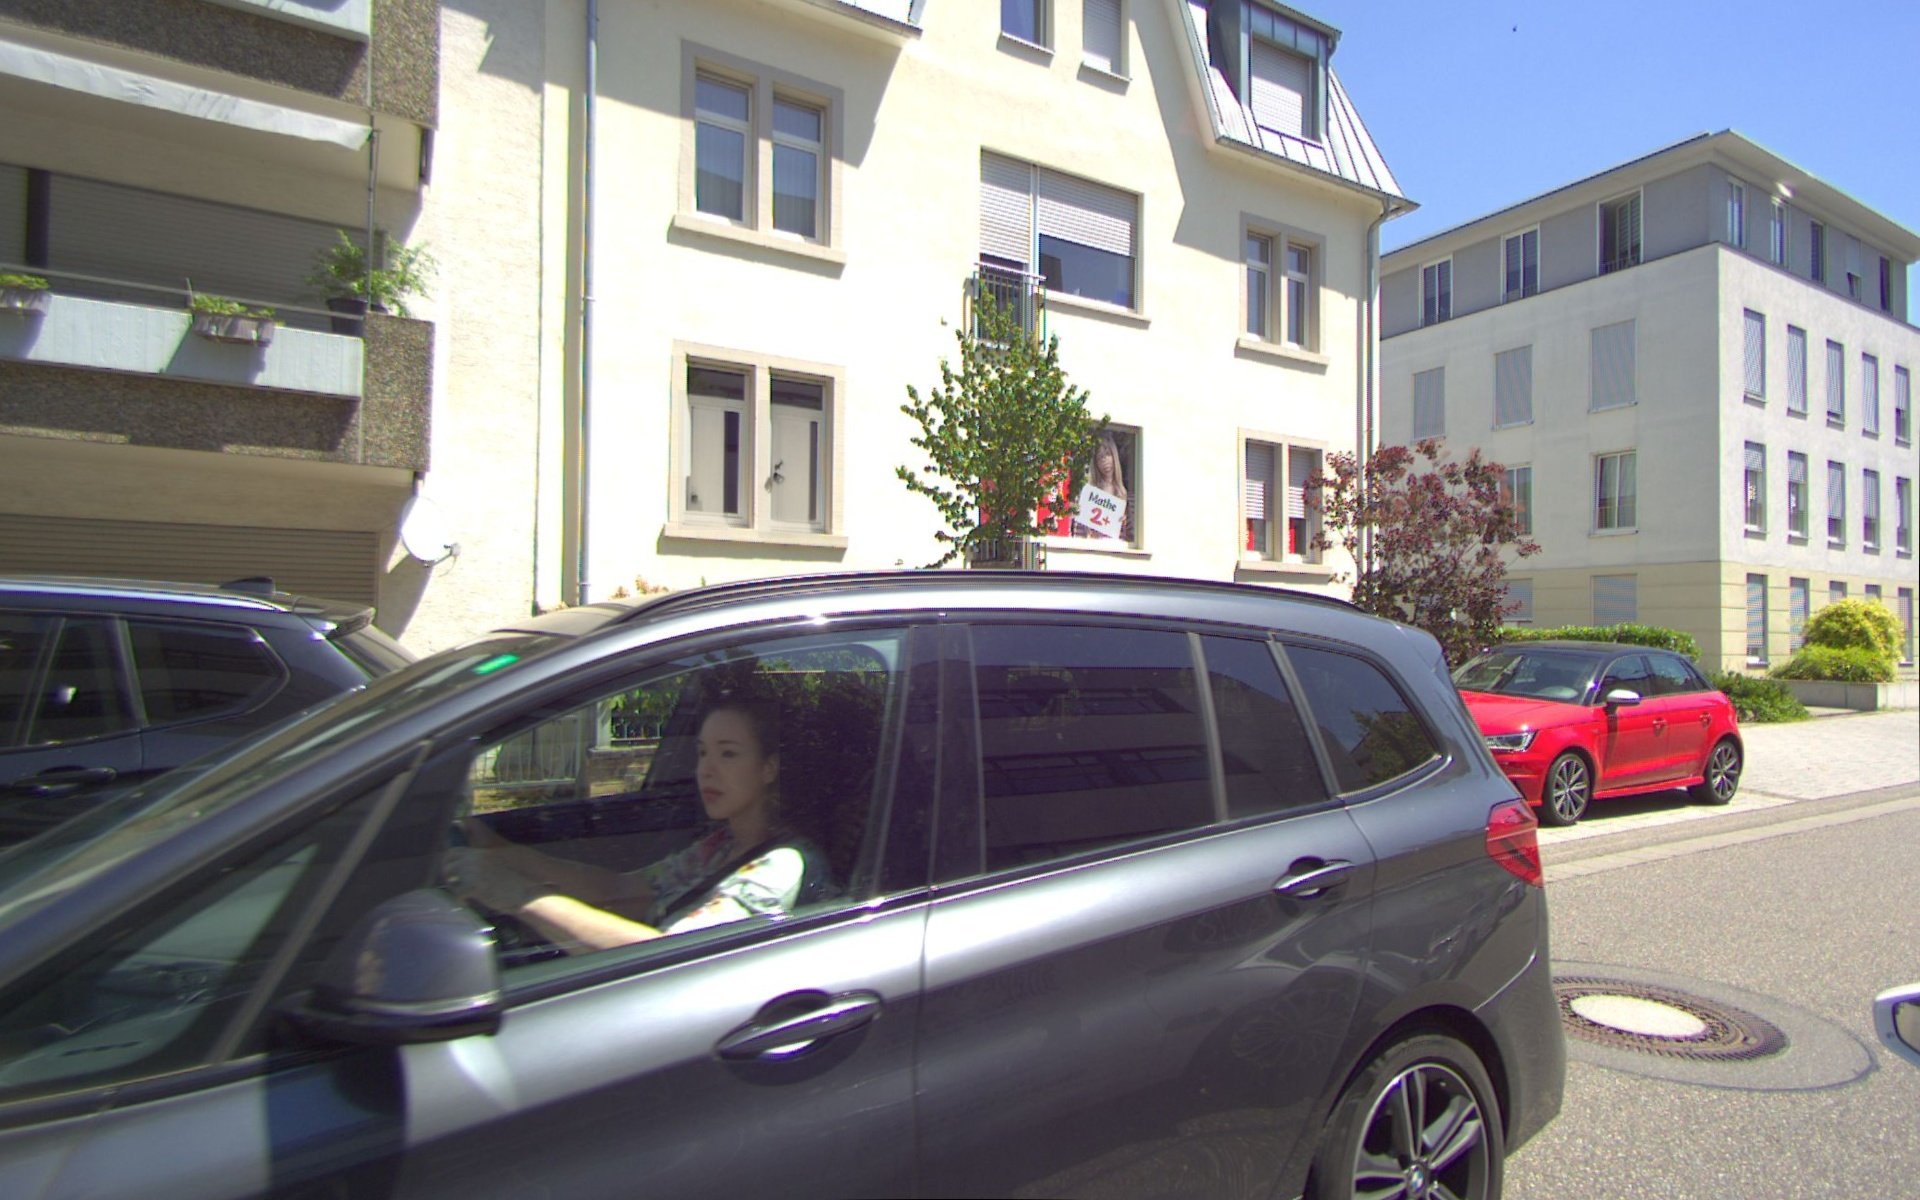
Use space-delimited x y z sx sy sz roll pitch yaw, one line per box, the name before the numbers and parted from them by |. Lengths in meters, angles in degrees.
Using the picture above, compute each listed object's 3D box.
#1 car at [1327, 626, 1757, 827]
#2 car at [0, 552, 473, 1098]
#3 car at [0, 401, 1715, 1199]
car | 5.394 1.030 9.241 3.858 1.438 1.642 2 1 -29
car | -4.151 0.626 3.259 4.516 1.641 1.717 2 1 -30
car | -0.434 0.709 2.387 4.418 1.692 1.965 2 -2 -29
